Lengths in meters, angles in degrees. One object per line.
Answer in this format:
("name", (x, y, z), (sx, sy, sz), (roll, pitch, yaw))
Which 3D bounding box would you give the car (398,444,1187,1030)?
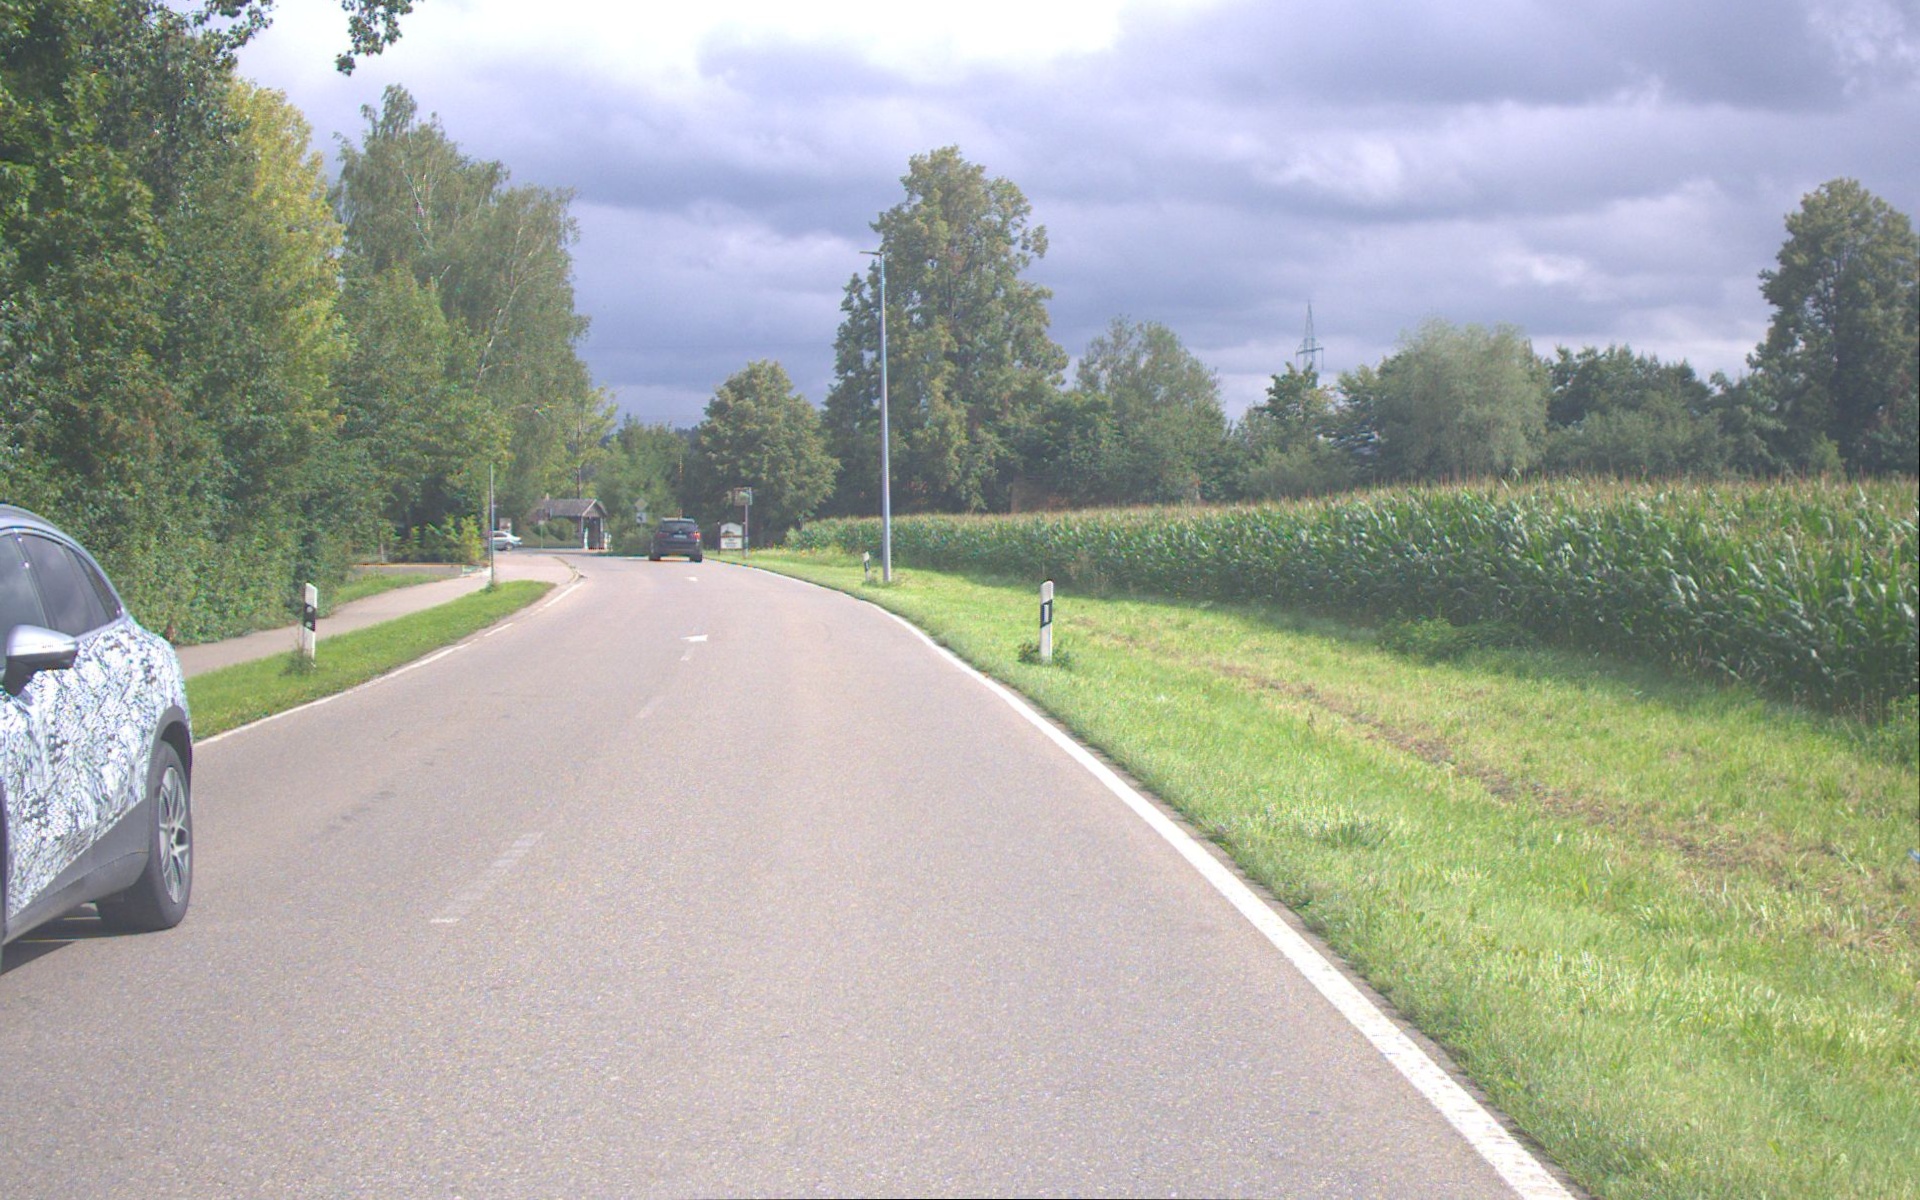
("car", (-0.857, 0.454, 13.983), (1.993, 2.007, 4.001), (2, 1, -21))

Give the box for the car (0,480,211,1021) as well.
("car", (-3.874, 0.456, 11.571), (1.811, 1.645, 4.293), (-2, 1, -1))

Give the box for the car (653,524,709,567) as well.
("car", (-10.763, -2.106, 132.480), (1.993, 1.579, 4.001), (2, 1, -6))
